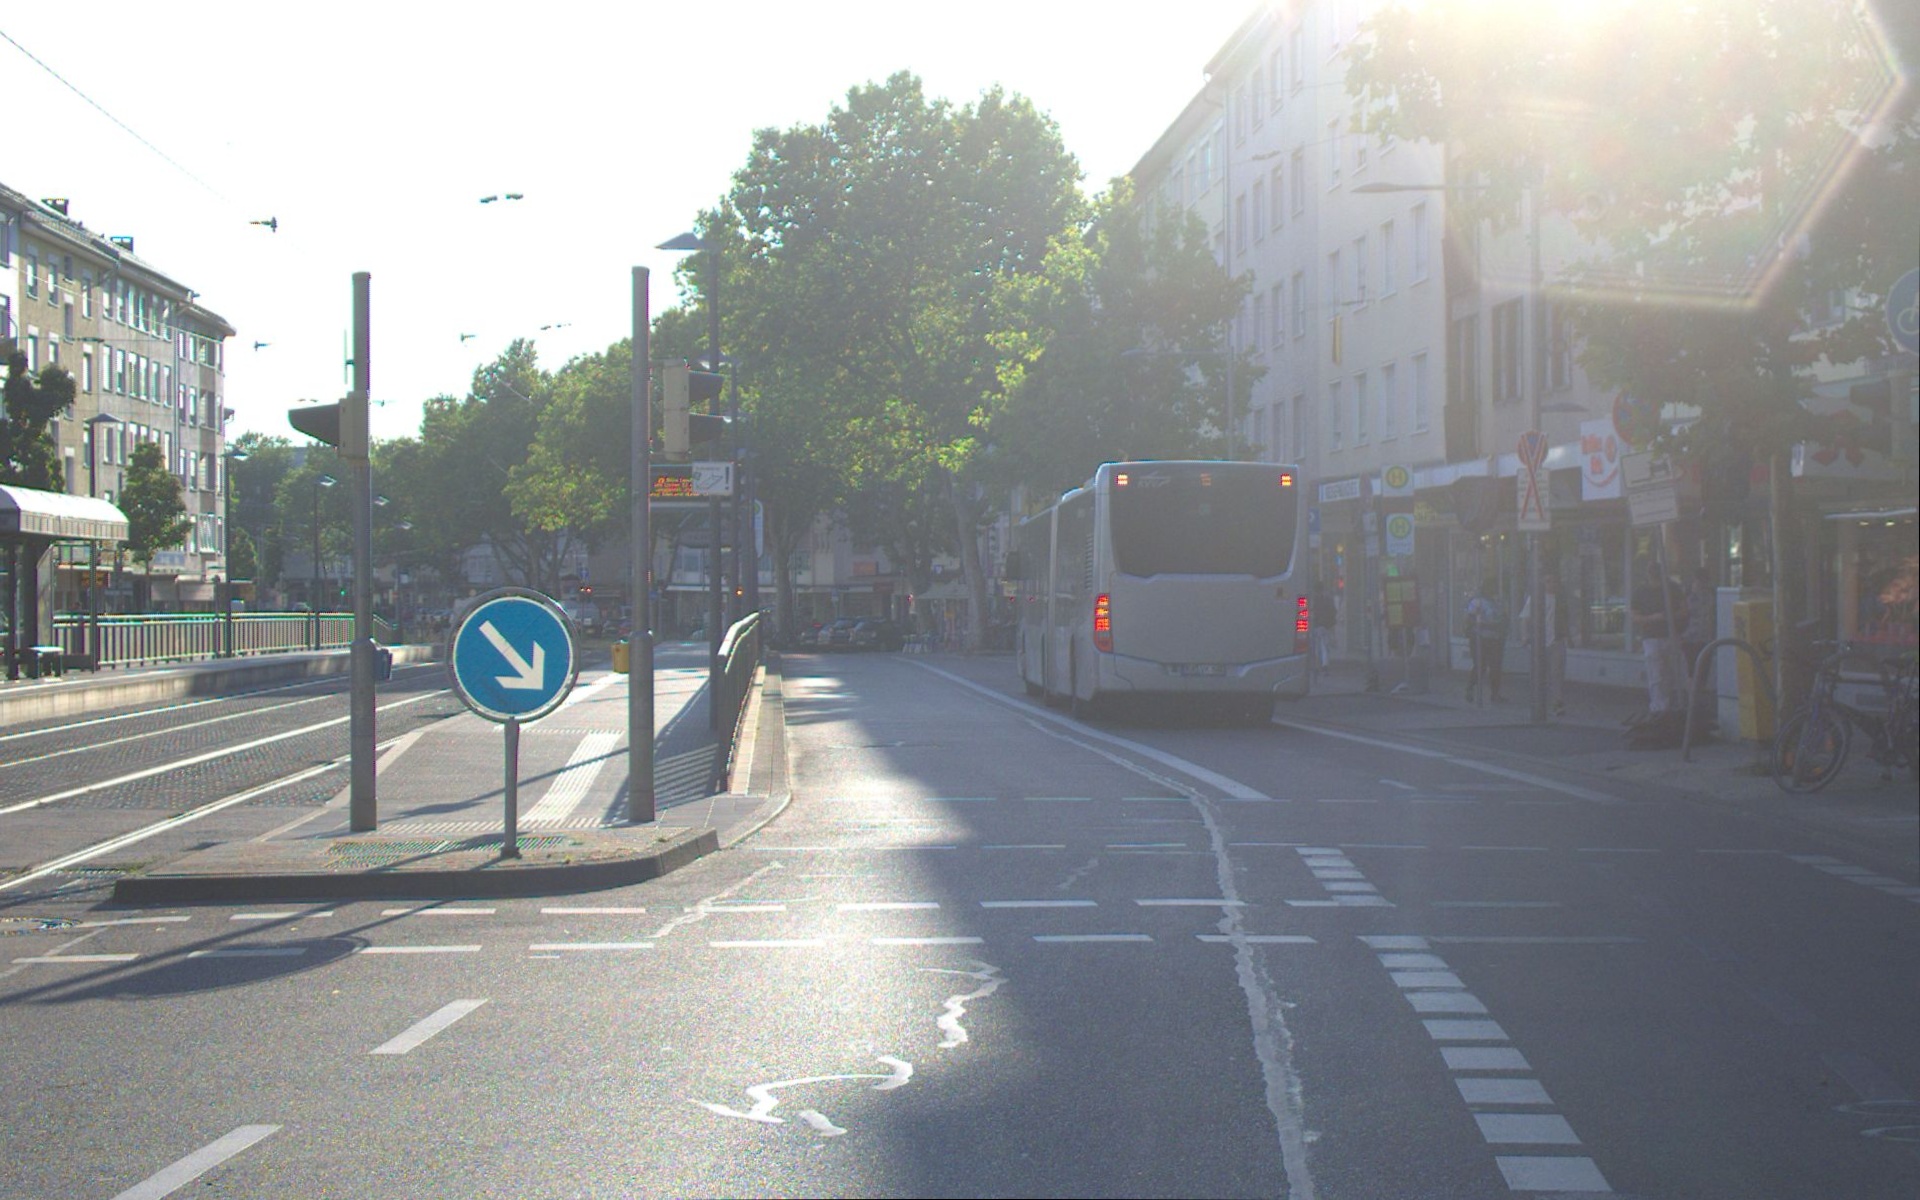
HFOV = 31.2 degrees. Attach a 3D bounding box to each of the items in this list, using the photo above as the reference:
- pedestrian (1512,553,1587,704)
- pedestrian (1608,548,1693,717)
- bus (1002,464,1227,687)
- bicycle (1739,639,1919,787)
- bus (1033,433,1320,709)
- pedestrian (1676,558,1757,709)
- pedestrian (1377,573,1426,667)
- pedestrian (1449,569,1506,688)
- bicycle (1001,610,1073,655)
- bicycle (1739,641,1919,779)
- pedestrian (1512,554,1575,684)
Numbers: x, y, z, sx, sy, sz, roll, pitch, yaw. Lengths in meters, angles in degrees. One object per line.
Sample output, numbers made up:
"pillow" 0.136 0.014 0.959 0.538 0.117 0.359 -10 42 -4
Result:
"pedestrian" 7.008 0.335 40.878 0.723 1.773 0.766 0 0 -3
"pedestrian" 7.440 0.344 37.085 0.723 1.800 0.766 0 0 -3
"bus" 2.236 -0.355 52.967 2.696 3.107 9.070 1 0 -2
"bicycle" 6.672 0.809 25.123 1.798 1.005 0.541 -2 0 -6
"bus" 2.567 -0.340 43.797 2.696 3.107 9.382 1 0 -2
"pedestrian" 8.745 0.385 39.772 0.723 1.717 0.766 0 0 -3
"pedestrian" 7.643 0.343 59.522 0.723 1.627 0.766 0 0 -3
"pedestrian" 6.879 0.370 45.695 0.610 1.573 0.851 0 0 -1
"bicycle" 2.120 0.892 94.783 1.887 1.073 0.754 -4 0 1
"bicycle" 6.634 0.819 25.779 1.482 1.005 0.454 0 0 -5
"pedestrian" 8.307 0.273 48.931 0.723 1.834 0.766 0 0 -3
